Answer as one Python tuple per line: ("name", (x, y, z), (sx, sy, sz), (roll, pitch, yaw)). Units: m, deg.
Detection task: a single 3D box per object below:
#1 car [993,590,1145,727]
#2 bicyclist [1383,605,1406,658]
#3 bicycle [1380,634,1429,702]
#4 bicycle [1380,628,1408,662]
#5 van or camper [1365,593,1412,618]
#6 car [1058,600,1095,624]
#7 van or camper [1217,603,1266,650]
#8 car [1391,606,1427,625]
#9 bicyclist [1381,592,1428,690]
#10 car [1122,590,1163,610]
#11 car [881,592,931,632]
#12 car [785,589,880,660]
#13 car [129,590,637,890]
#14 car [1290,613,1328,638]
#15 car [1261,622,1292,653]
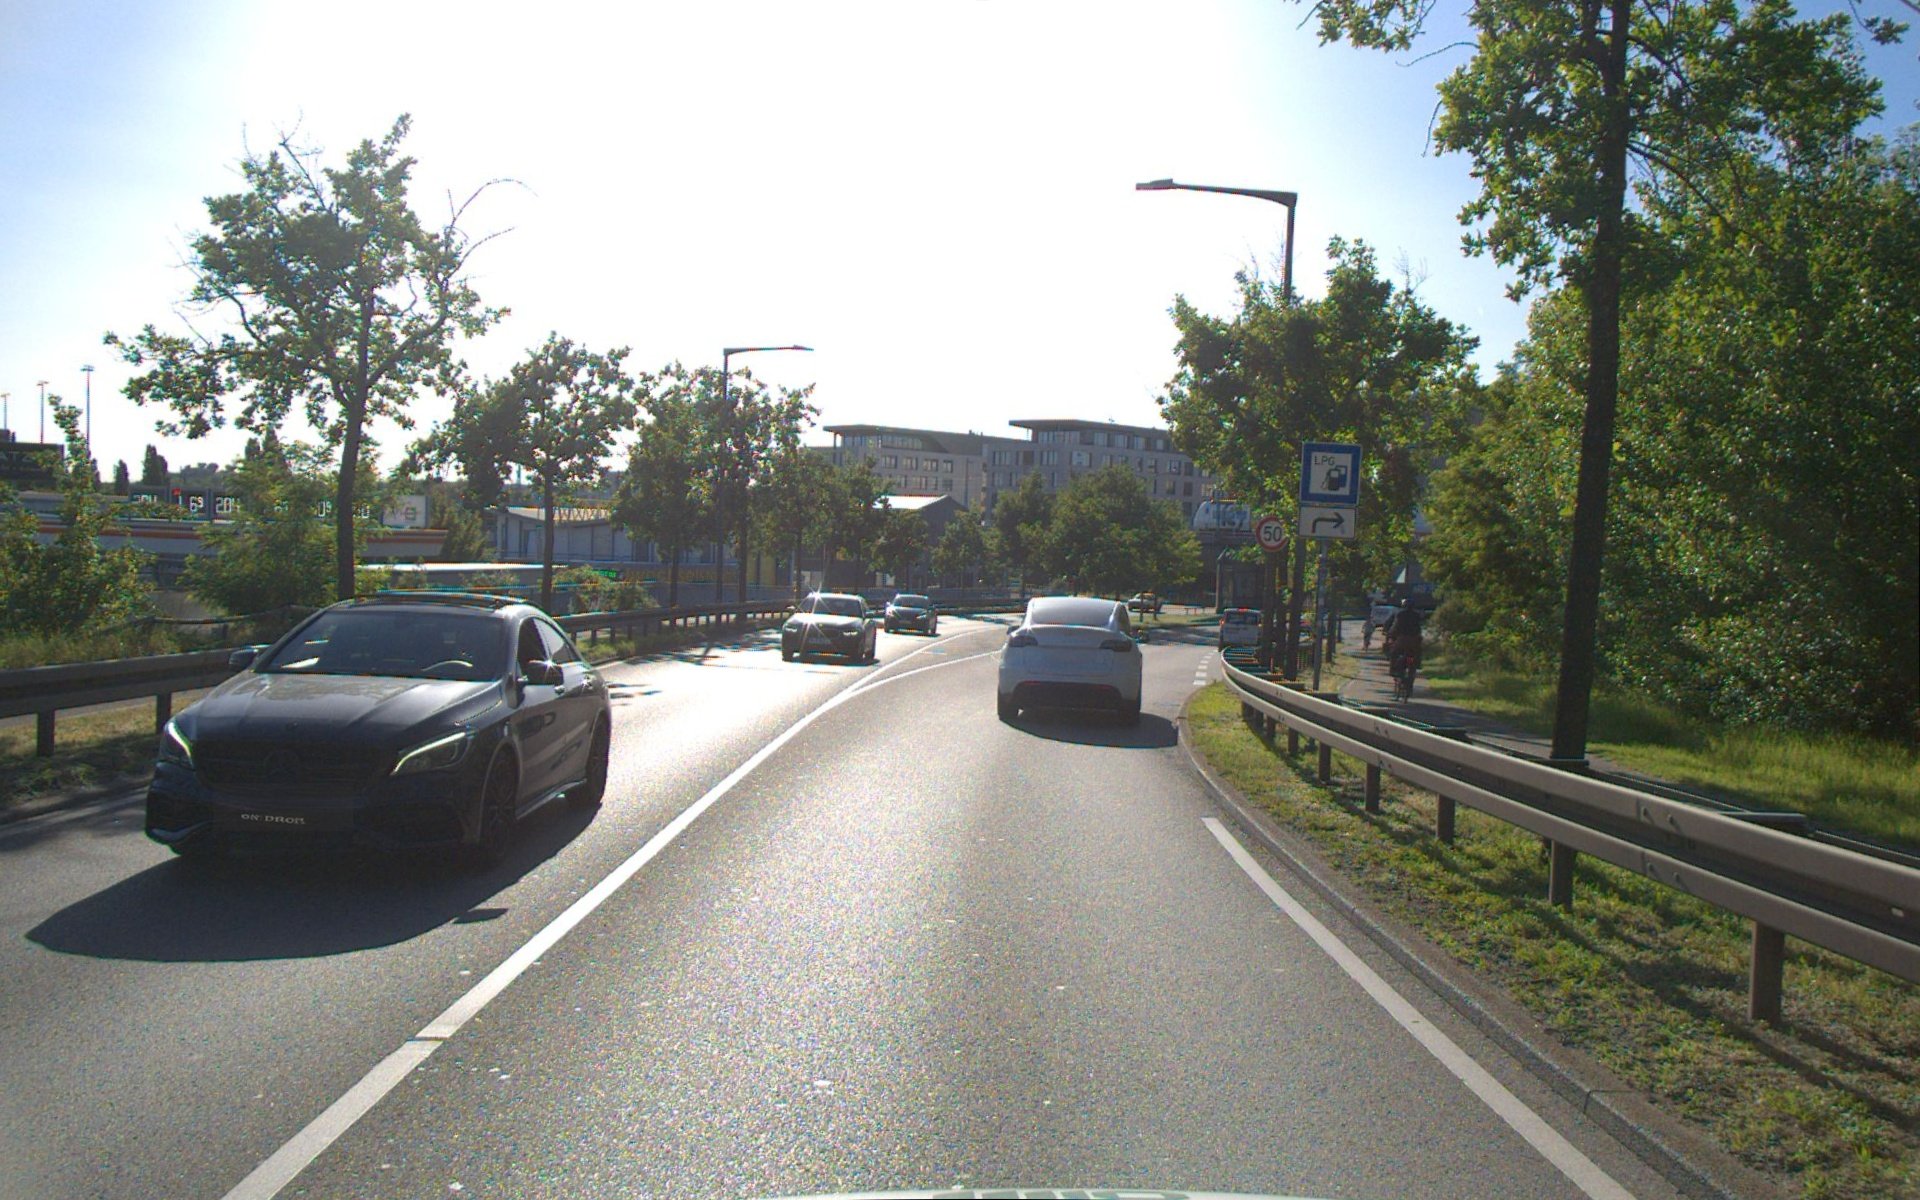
("car", (1.609, 0.724, 22.896), (1.873, 1.669, 4.413), (1, 0, 6))
("bicyclist", (15.205, 1.103, 57.846), (0.661, 1.807, 0.948), (1, 0, 22))
("bicycle", (7.465, 1.126, 27.830), (0.686, 1.093, 1.922), (1, -1, 13))
("bicycle", (15.166, 1.554, 57.729), (0.681, 1.114, 2.117), (1, 0, 21))
("van or camper", (34.010, 0.444, 131.249), (1.798, 1.821, 4.521), (5, 3, 39))
("car", (8.012, 0.814, 113.277), (1.725, 1.514, 4.280), (4, 0, 14))
("van or camper", (12.413, 1.132, 72.695), (1.916, 1.917, 4.884), (1, 0, 12))
("car", (41.159, 1.424, 151.533), (1.683, 1.548, 3.721), (5, 3, 41))
("bicyclist", (7.440, 0.680, 27.691), (0.692, 1.606, 1.005), (1, -1, 13))
("car", (14.906, 0.005, 135.058), (1.697, 1.409, 4.490), (4, 1, 28))
("car", (-2.076, 0.452, 64.672), (1.630, 1.471, 3.850), (2, 0, 2))
("car", (-2.897, 0.516, 38.368), (1.772, 1.523, 4.369), (1, 0, 1))
("car", (-3.288, 0.686, 10.360), (1.656, 1.466, 4.216), (1, 0, 0))
("car", (23.844, 1.723, 112.888), (1.728, 1.501, 4.289), (4, 2, 22))
("car", (18.010, 2.125, 94.040), (1.570, 1.459, 3.682), (4, 3, 12))
